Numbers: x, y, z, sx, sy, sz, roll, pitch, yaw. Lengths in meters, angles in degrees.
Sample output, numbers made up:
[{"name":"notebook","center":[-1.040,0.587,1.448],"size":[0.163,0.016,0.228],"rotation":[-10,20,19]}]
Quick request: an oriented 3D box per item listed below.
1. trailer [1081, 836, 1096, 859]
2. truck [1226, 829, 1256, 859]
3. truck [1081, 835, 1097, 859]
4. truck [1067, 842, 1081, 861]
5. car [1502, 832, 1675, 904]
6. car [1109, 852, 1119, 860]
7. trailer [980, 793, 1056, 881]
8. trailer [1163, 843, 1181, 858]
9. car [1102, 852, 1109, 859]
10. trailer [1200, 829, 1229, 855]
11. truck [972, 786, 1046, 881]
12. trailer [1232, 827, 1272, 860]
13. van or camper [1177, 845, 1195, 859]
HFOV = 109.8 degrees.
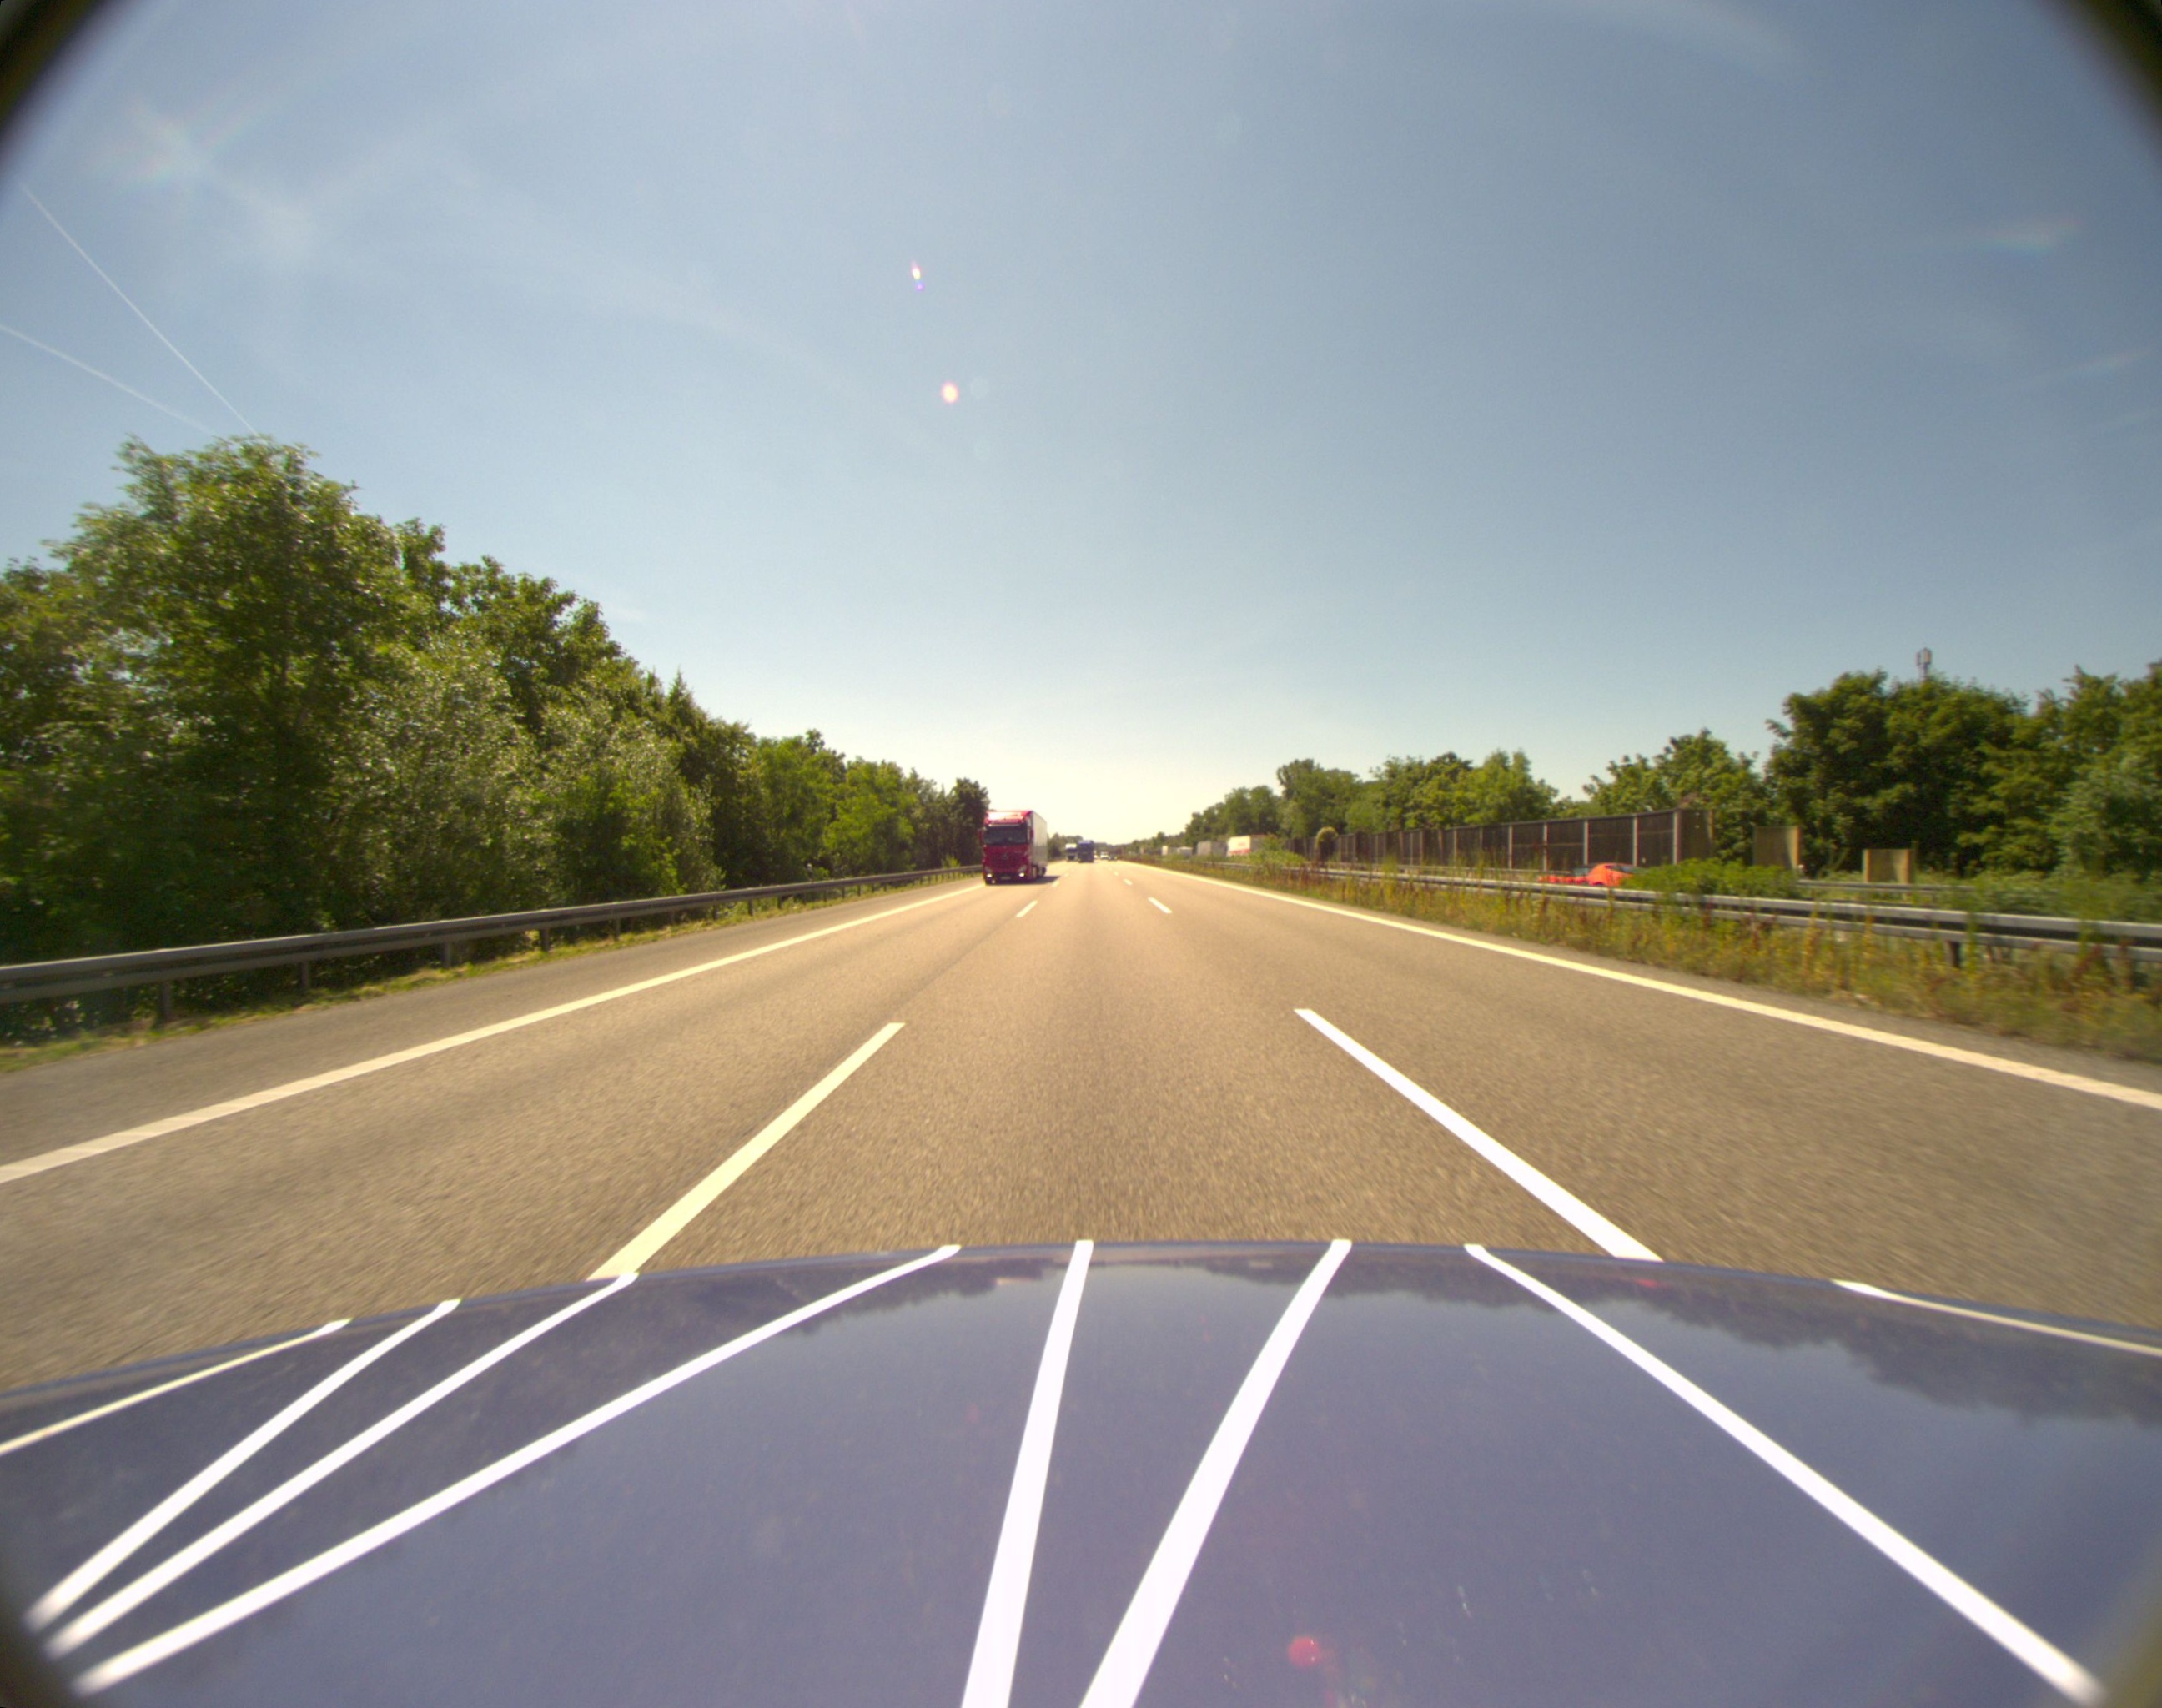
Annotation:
[{"name":"trailer","center":[1.420,-1.065,141.080],"size":[2.707,4.093,12.133],"rotation":[-2,0,1]},{"name":"truck","center":[23.222,-1.389,110.414],"size":[2.849,4.182,7.715],"rotation":[-2,0,1]},{"name":"truck","center":[1.391,-1.127,134.010],"size":[2.707,4.093,6.990],"rotation":[-2,0,0]},{"name":"truck","center":[-1.630,-0.414,174.331],"size":[2.820,4.138,10.449],"rotation":[-2,0,1]},{"name":"car","center":[13.440,0.352,20.447],"size":[1.998,1.694,4.000],"rotation":[-2,0,1]},{"name":"car","center":[6.858,0.436,157.995],"size":[2.045,1.559,4.000],"rotation":[-2,0,1]},{"name":"trailer","center":[-3.749,-0.918,49.257],"size":[3.277,4.809,14.031],"rotation":[-2,0,1]},{"name":"trailer","center":[25.313,-1.062,211.799],"size":[3.619,4.079,12.796],"rotation":[0,0,1]},{"name":"car","center":[6.370,0.424,198.142],"size":[1.855,1.559,4.000],"rotation":[-2,0,1]},{"name":"trailer","center":[24.038,-2.133,137.385],"size":[3.174,4.451,12.952],"rotation":[-1,0,1]},{"name":"truck","center":[-3.909,-1.038,43.144],"size":[3.242,4.860,6.972],"rotation":[-2,0,1]},{"name":"trailer","center":[23.050,-1.308,103.198],"size":[2.849,4.149,12.222],"rotation":[-2,0,1]},{"name":"van or camper","center":[19.510,-0.409,141.417],"size":[2.471,2.561,7.411],"rotation":[-1,0,1]}]
